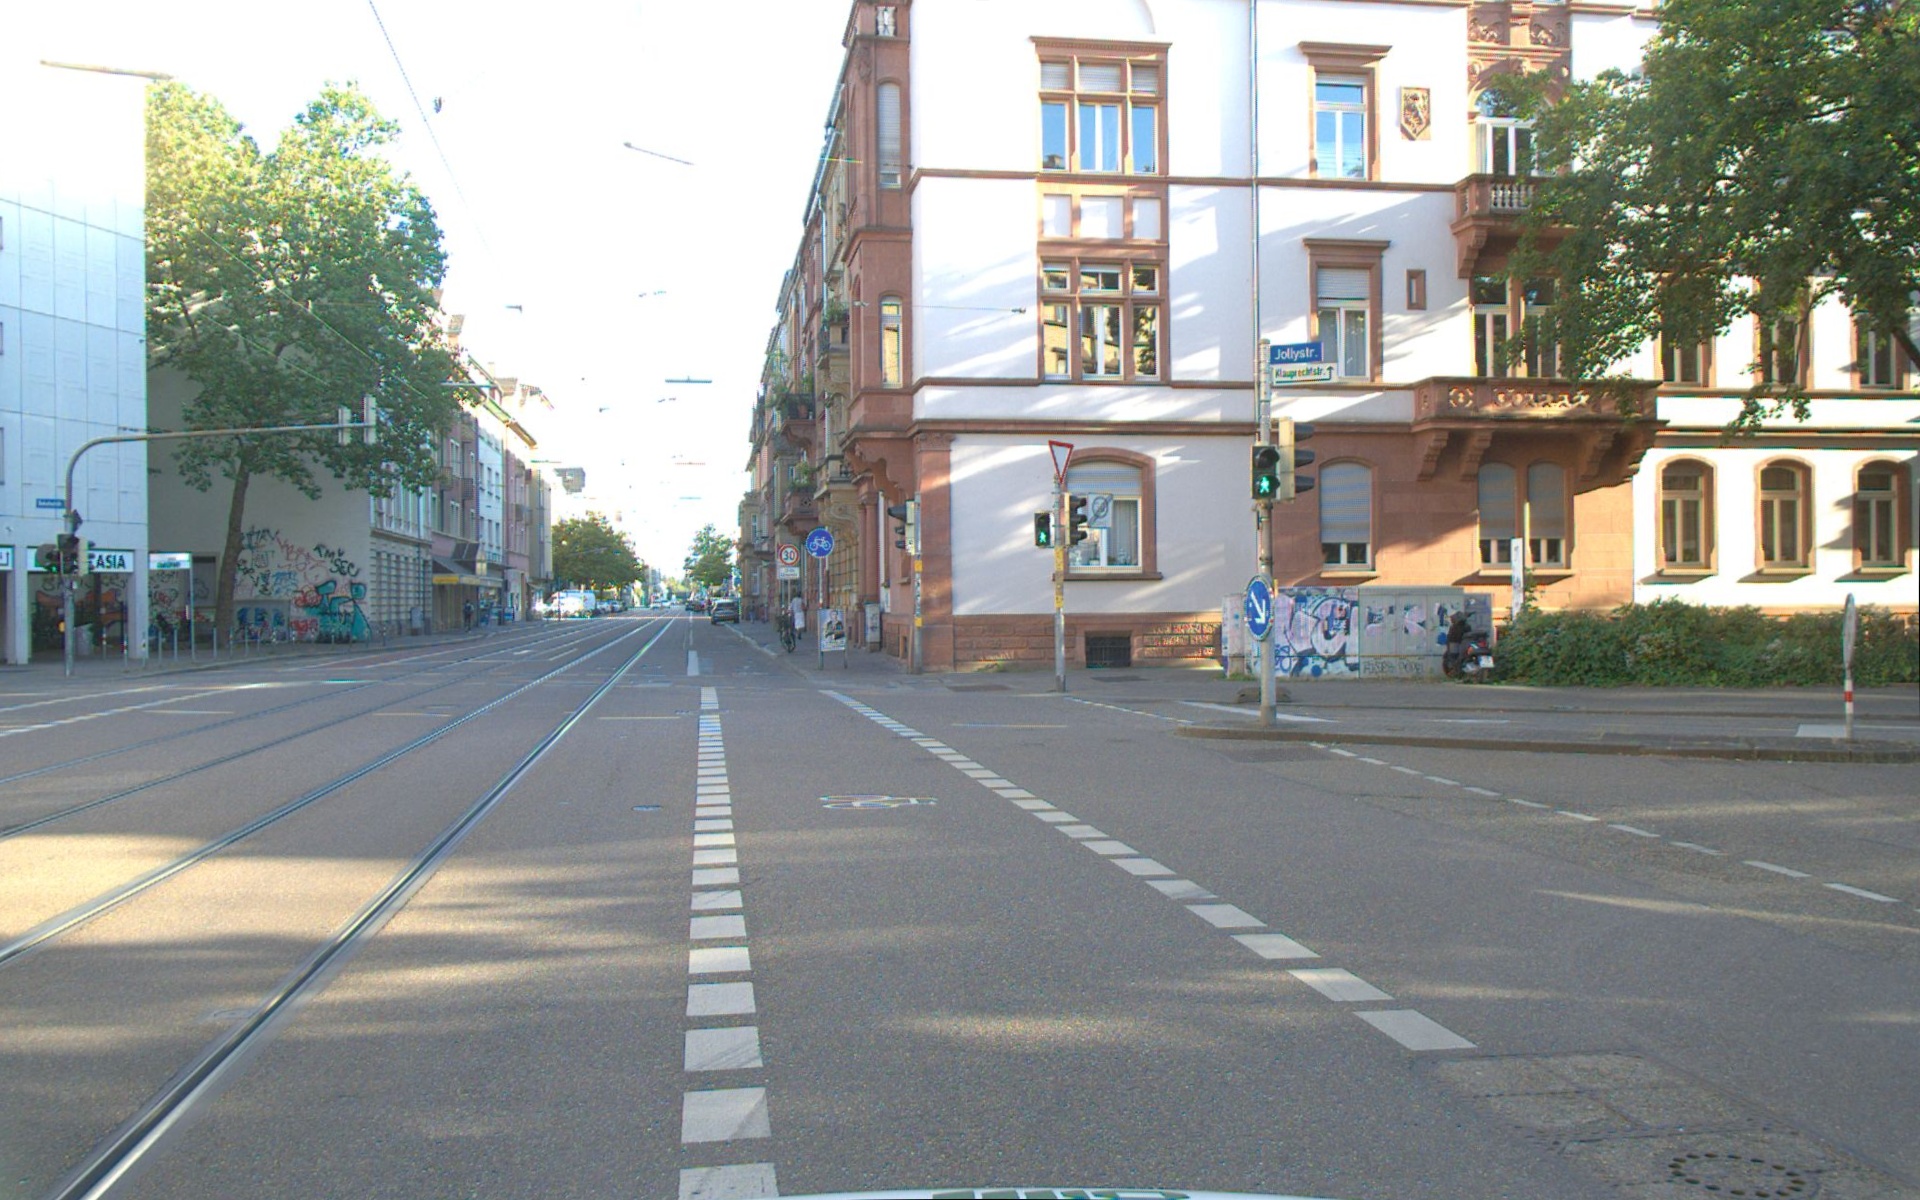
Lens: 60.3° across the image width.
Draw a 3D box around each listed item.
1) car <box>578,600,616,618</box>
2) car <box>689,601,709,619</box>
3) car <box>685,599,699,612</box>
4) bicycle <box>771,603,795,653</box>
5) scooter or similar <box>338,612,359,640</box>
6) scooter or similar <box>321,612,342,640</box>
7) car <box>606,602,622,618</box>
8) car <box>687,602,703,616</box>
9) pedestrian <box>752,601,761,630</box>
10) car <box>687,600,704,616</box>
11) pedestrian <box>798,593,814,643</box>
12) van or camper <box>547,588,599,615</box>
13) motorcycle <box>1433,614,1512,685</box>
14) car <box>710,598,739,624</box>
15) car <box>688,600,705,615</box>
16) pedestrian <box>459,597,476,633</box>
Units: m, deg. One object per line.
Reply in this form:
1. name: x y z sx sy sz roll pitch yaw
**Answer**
1. car: -43.162 1.046 196.632 3.952 2.049 1.976 -1 0 -34
2. car: -26.273 1.029 166.167 1.957 1.758 3.990 0 -1 -10
3. car: -38.008 0.781 234.461 1.957 1.758 3.990 0 -1 -10
4. bicycle: -4.980 0.768 46.401 0.641 1.347 2.173 -1 0 -7
5. scooter or similar: -23.666 1.002 64.013 0.507 1.076 1.474 -1 0 -11
6. scooter or similar: -24.281 1.009 63.873 0.507 1.064 1.474 -1 0 -11
7. car: -46.643 1.330 223.145 1.957 2.049 3.990 -1 0 -10
8. car: -32.521 1.134 203.103 1.957 1.758 3.990 0 -1 -10
9. pedestrian: -13.148 0.996 106.714 0.534 1.811 0.748 -1 0 -8
10. car: -30.415 0.912 190.144 1.957 1.758 3.990 0 -1 -10
11. pedestrian: -5.610 0.665 60.137 0.534 1.811 0.503 -1 0 -9
12. van or camper: -37.814 0.146 161.836 4.607 2.608 1.971 0 -1 -41
13. motorcycle: 8.674 0.818 28.068 0.704 1.037 2.288 -1 2 2
14. car: -16.311 0.751 114.667 1.913 1.713 3.993 -1 0 -8
15. car: -31.121 0.859 195.116 1.957 1.758 3.990 0 -1 -10
16. pedestrian: -24.362 0.752 81.862 0.688 1.759 0.646 -1 0 -10
